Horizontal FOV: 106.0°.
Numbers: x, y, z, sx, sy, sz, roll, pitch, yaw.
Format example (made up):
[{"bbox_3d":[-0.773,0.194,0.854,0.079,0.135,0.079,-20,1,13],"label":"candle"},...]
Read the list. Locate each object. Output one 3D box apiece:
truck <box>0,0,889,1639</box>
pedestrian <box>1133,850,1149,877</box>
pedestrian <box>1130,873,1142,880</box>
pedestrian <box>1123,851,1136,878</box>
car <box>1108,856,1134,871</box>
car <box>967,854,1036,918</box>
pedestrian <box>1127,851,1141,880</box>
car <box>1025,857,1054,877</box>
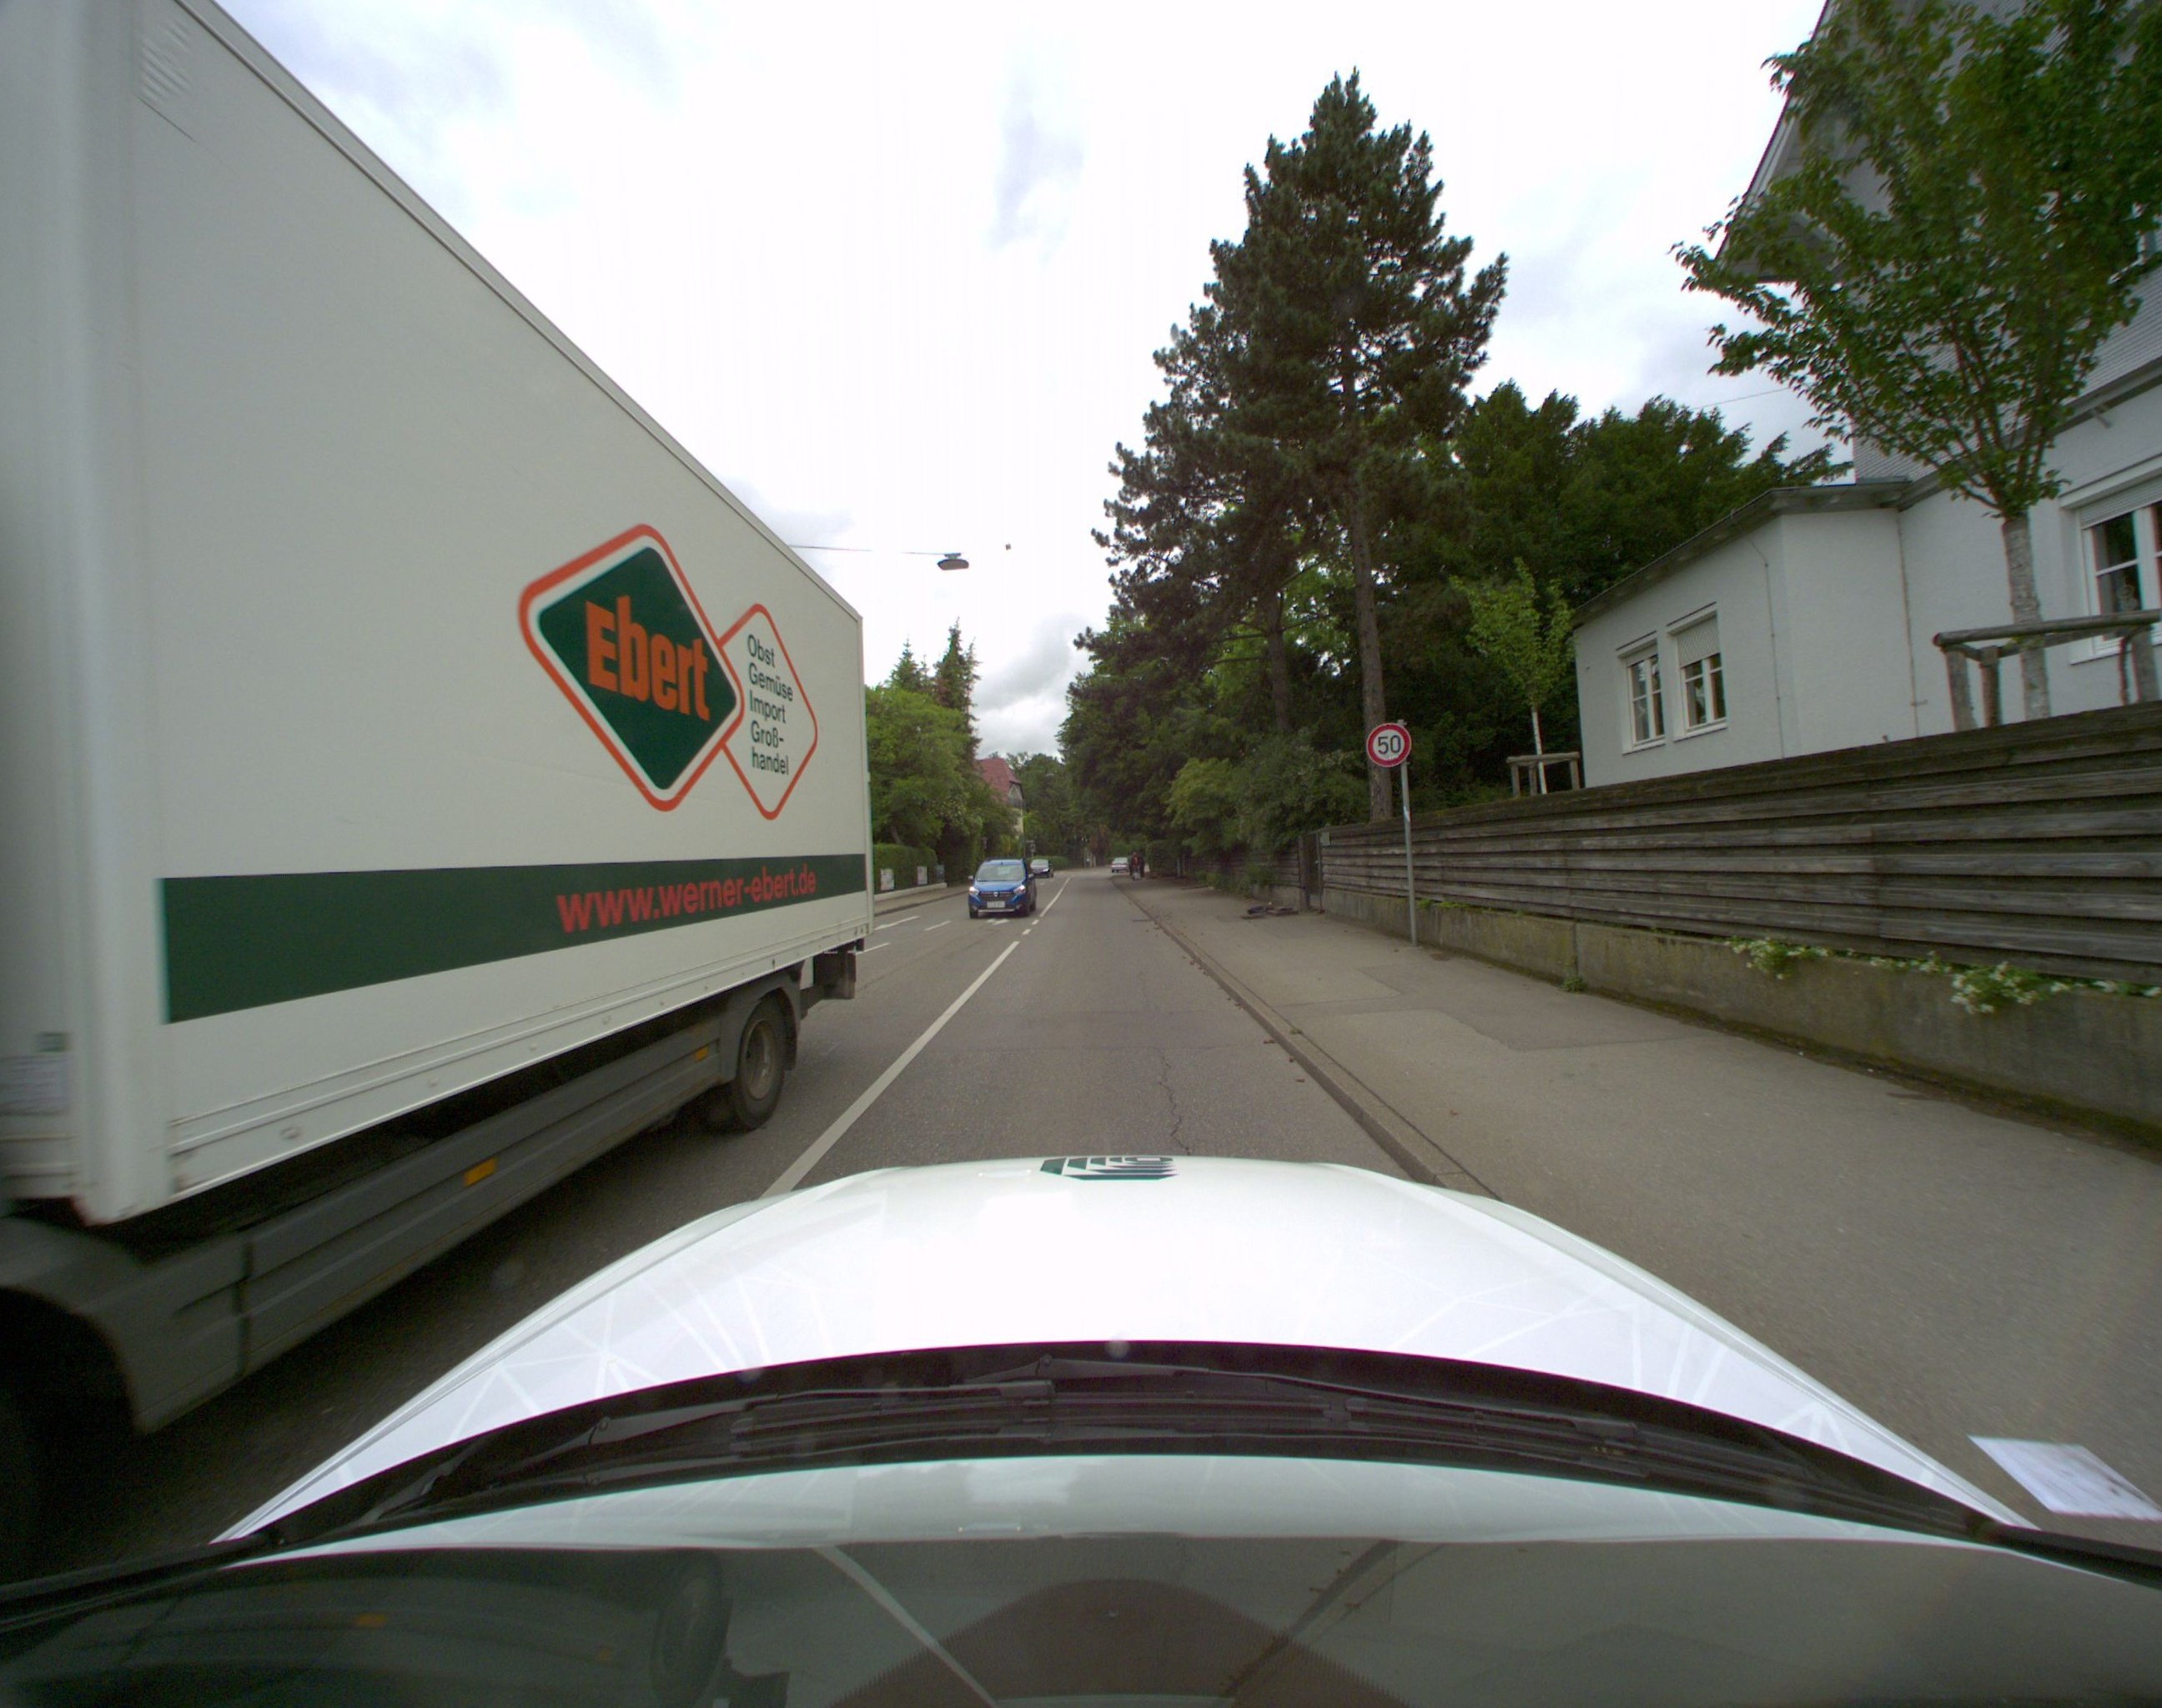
[{"bbox_3d":[-3.180,-0.331,3.321,2.768,3.461,7.493,-3,-2,1],"label":"truck"},{"bbox_3d":[4.006,0.631,54.491,0.694,1.807,0.665,-2,-1,-41],"label":"pedestrian"},{"bbox_3d":[3.425,1.403,51.031,0.670,0.393,0.741,-2,-1,0],"label":"pedestrian"},{"bbox_3d":[3.244,0.701,54.333,0.594,1.807,0.522,-3,-1,41],"label":"pedestrian"},{"bbox_3d":[3.981,0.942,80.500,1.785,1.415,4.350,-2,-2,13],"label":"car"},{"bbox_3d":[-2.334,0.910,24.906,1.801,1.717,4.374,-2,-1,-3],"label":"car"},{"bbox_3d":[3.418,0.756,52.665,0.804,1.807,0.741,-2,-1,-1],"label":"pedestrian"},{"bbox_3d":[-3.256,1.032,64.154,1.672,1.471,4.023,-3,-1,5],"label":"car"}]
